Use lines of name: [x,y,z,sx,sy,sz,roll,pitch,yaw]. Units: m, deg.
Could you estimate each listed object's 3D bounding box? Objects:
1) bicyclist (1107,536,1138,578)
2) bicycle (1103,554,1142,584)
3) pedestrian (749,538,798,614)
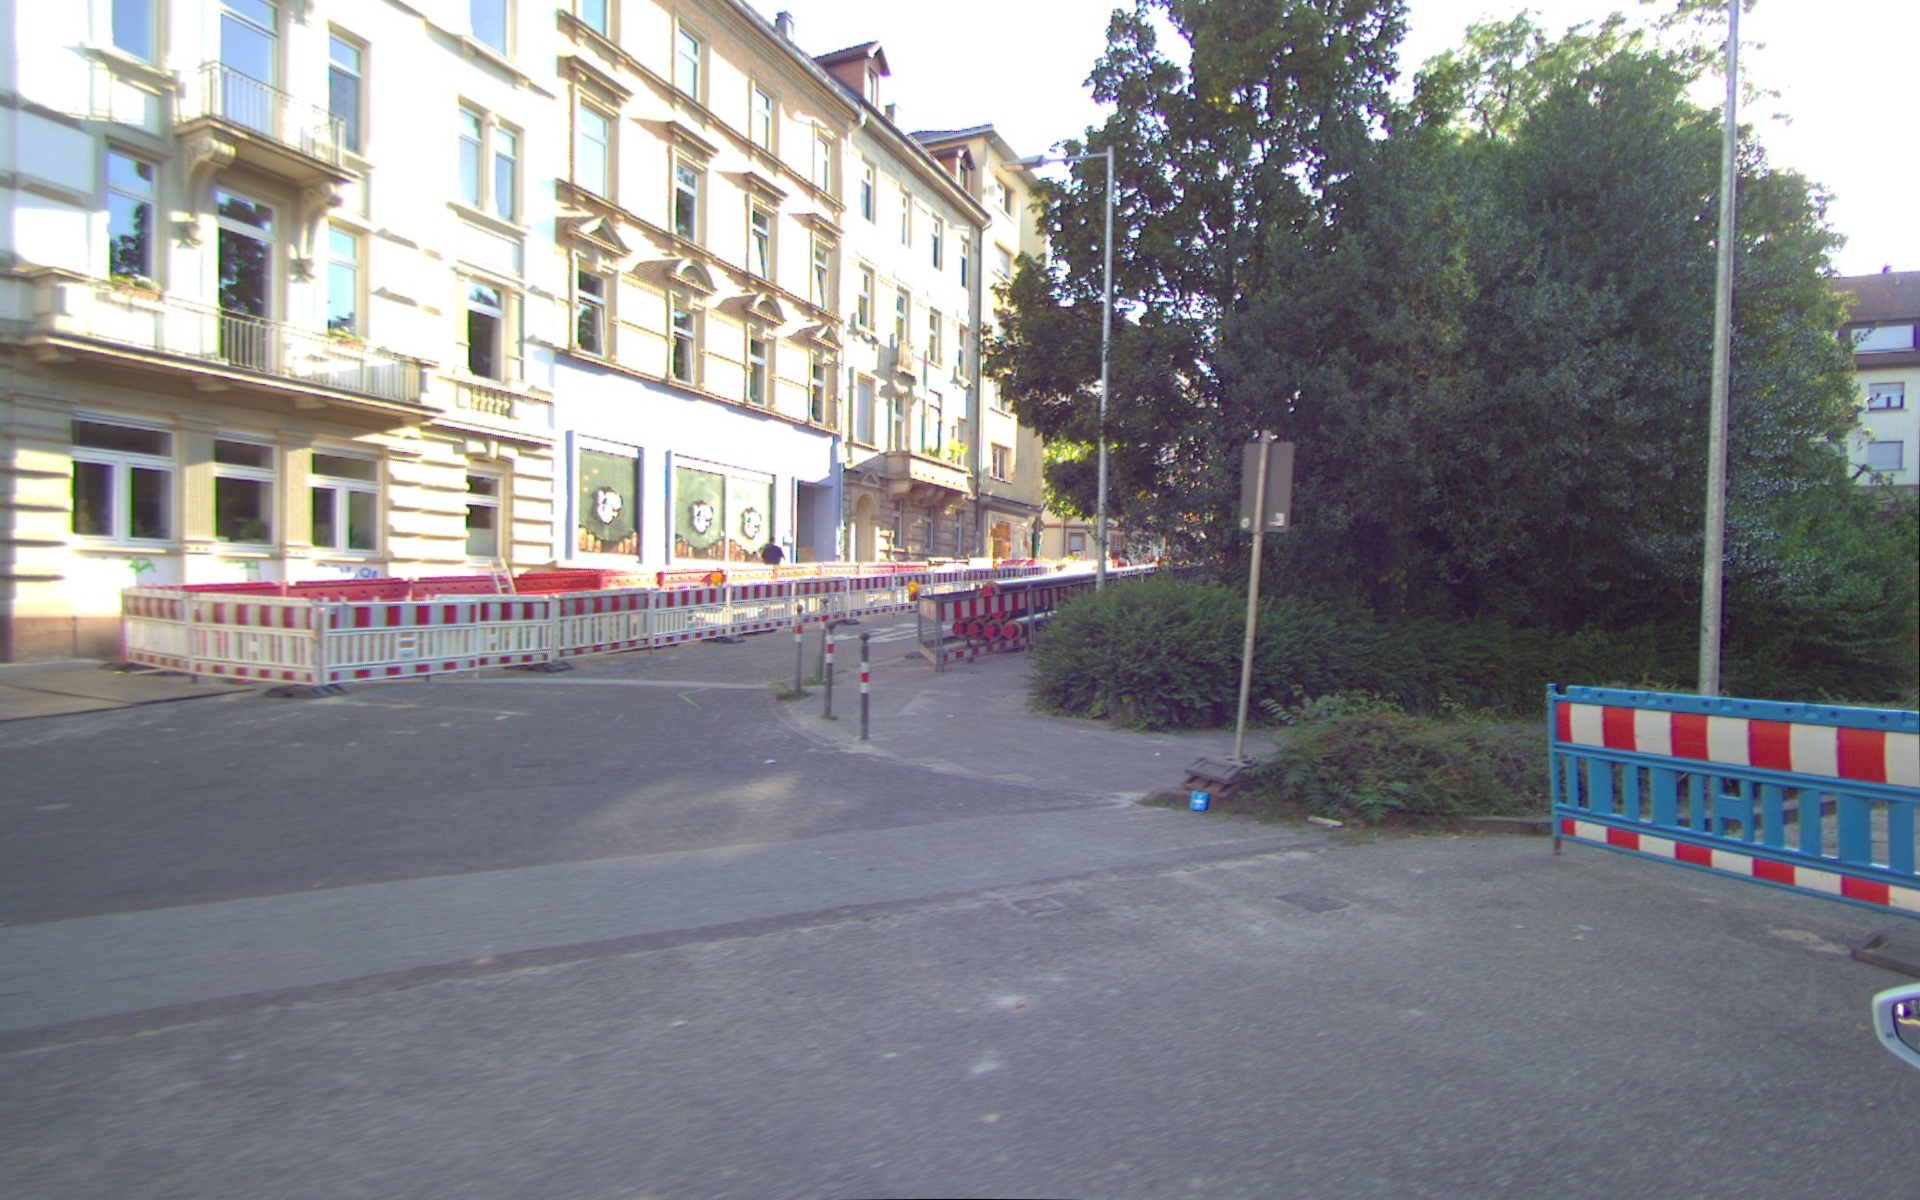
bicyclist: [5.551,-1.475,34.304,0.790,1.402,0.984,2,2,25]
bicycle: [5.563,-1.038,34.342,0.790,0.981,2.106,1,1,24]
pedestrian: [-5.127,-0.641,27.614,0.925,2.041,0.958,1,1,26]
